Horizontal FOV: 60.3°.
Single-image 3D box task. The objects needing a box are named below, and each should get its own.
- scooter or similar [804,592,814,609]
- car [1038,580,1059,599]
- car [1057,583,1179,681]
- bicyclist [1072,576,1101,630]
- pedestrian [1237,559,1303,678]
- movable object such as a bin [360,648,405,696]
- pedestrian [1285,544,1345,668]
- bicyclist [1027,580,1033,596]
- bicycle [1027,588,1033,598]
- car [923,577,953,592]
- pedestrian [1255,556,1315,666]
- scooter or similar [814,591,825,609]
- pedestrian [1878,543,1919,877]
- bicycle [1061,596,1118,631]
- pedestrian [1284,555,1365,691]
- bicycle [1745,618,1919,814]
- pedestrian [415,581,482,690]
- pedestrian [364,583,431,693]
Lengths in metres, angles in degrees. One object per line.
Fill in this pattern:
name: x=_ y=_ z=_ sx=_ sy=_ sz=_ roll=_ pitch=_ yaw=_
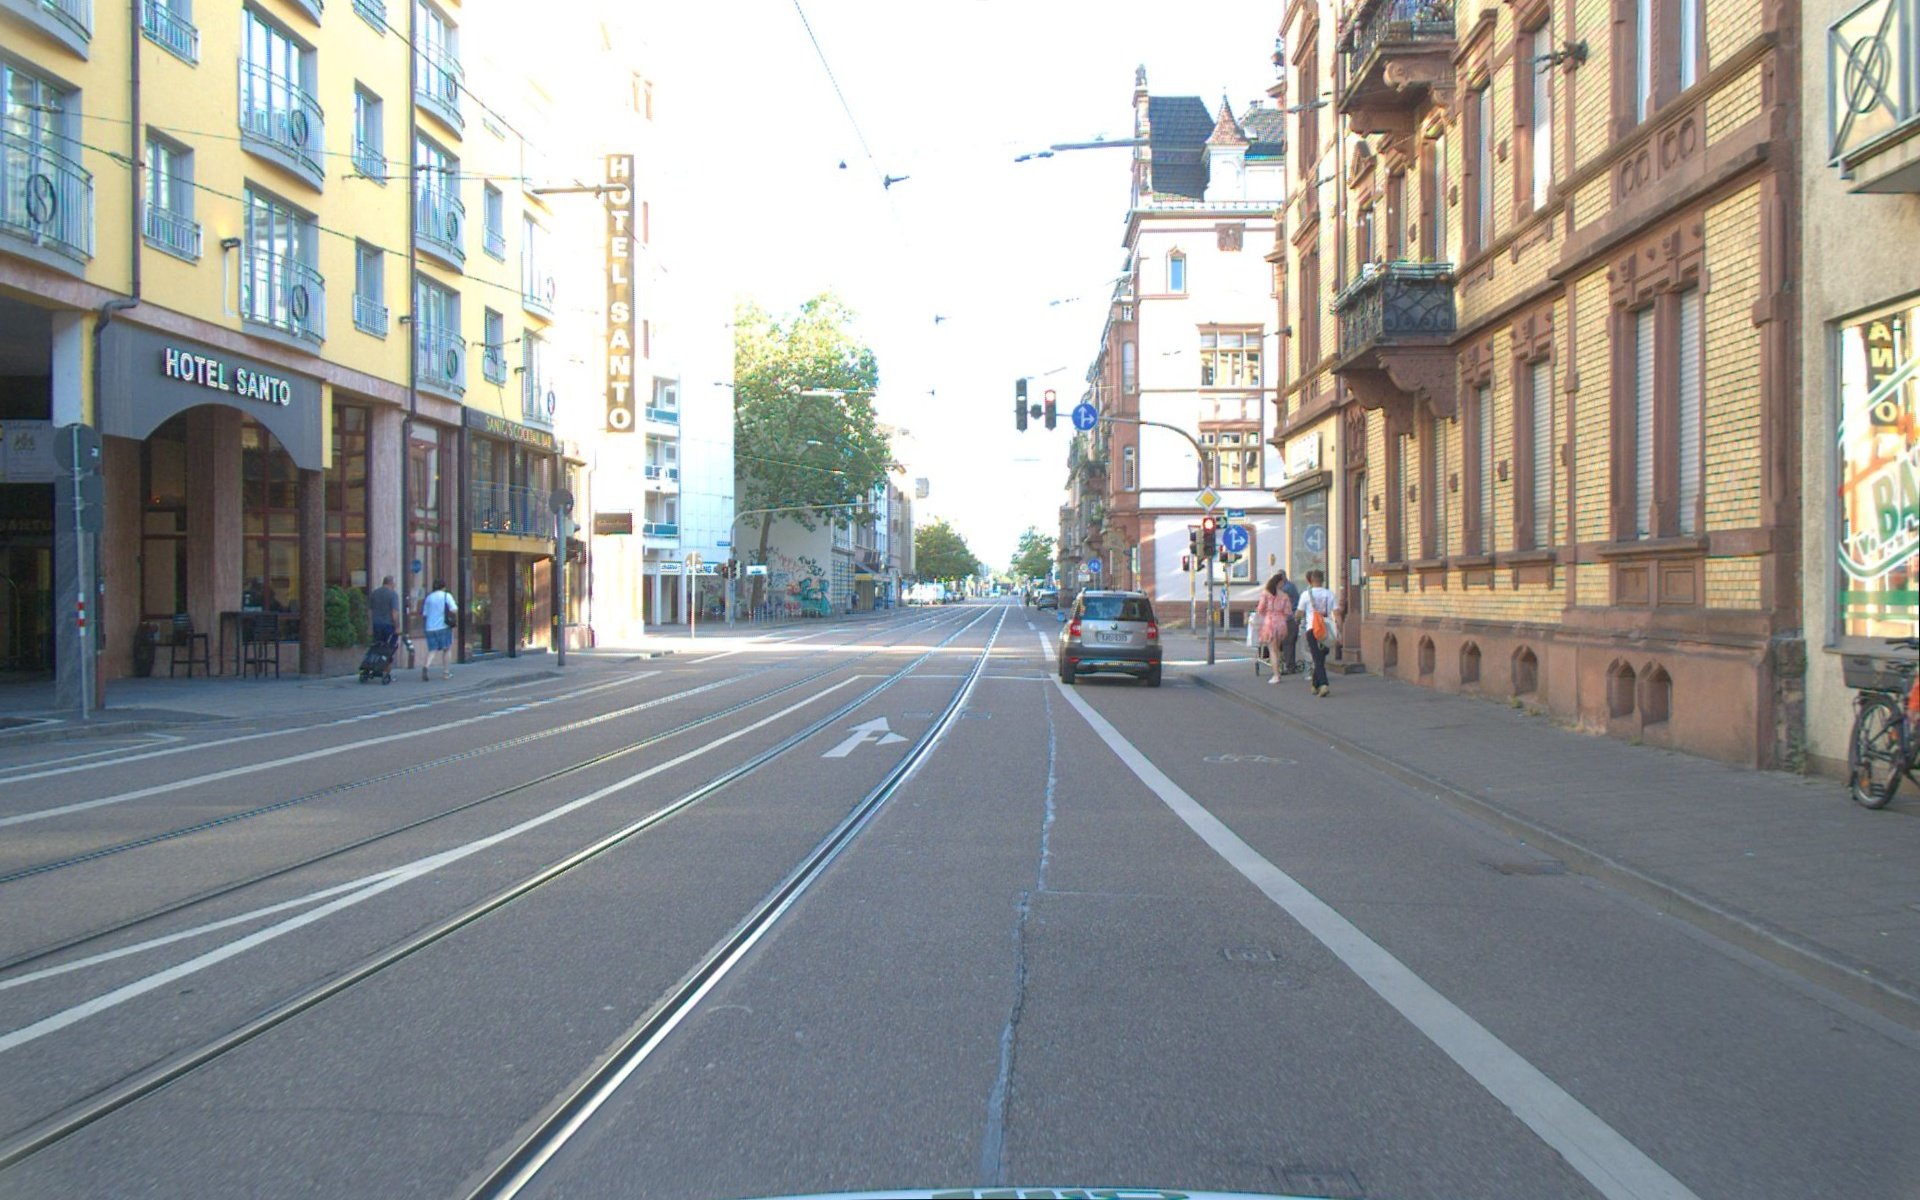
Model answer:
scooter or similar: x=-9.541 y=0.013 z=104.352 sx=0.506 sy=1.064 sz=1.478 roll=-1 pitch=0 yaw=0
car: x=8.149 y=-1.003 z=152.631 sx=1.909 sy=1.713 sz=4.002 roll=-1 pitch=1 yaw=3
car: x=2.817 y=0.526 z=30.284 sx=1.952 sy=1.646 sz=4.001 roll=1 pitch=1 yaw=2
bicyclist: x=3.977 y=0.105 z=51.817 sx=0.725 sy=1.662 sz=0.608 roll=1 pitch=-1 yaw=22
pedestrian: x=5.033 y=0.291 z=26.900 sx=0.789 sy=1.830 sz=0.761 roll=-5 pitch=1 yaw=0
movable object such as a bin: x=-9.659 y=1.192 z=27.673 sx=0.375 sy=0.728 sz=0.841 roll=4 pitch=1 yaw=3
pedestrian: x=5.755 y=0.087 z=26.857 sx=0.676 sy=1.941 sz=0.670 roll=-5 pitch=1 yaw=0
bicyclist: x=6.901 y=-1.158 z=163.950 sx=0.563 sy=1.581 sz=0.595 roll=-1 pitch=0 yaw=3
bicycle: x=6.912 y=-0.697 z=163.968 sx=0.563 sy=1.048 sz=1.896 roll=-1 pitch=0 yaw=3
car: x=-3.186 y=-2.210 z=239.160 sx=3.933 sy=2.049 sz=1.986 roll=-1 pitch=0 yaw=-23
pedestrian: x=5.702 y=0.180 z=29.042 sx=0.789 sy=1.830 sz=0.762 roll=-5 pitch=1 yaw=2
scooter or similar: x=-8.862 y=0.009 z=104.320 sx=0.506 sy=1.076 sz=1.478 roll=-1 pitch=0 yaw=0
pedestrian: x=5.082 y=0.524 z=7.903 sx=0.781 sy=1.655 sz=0.826 roll=-6 pitch=1 yaw=2
bicycle: x=4.062 y=0.423 z=51.804 sx=1.679 sy=1.052 sz=0.599 roll=1 pitch=-1 yaw=22
pedestrian: x=5.176 y=0.309 z=23.548 sx=0.789 sy=1.830 sz=1.092 roll=-5 pitch=1 yaw=1
bicycle: x=5.969 y=0.697 z=10.887 sx=0.543 sy=1.079 sz=2.312 roll=-3 pitch=0 yaw=3
pedestrian: x=-9.096 y=0.613 z=29.468 sx=0.736 sy=1.850 sz=1.046 roll=4 pitch=1 yaw=2
pedestrian: x=-9.679 y=0.639 z=28.474 sx=0.781 sy=1.801 sz=0.750 roll=4 pitch=1 yaw=2
